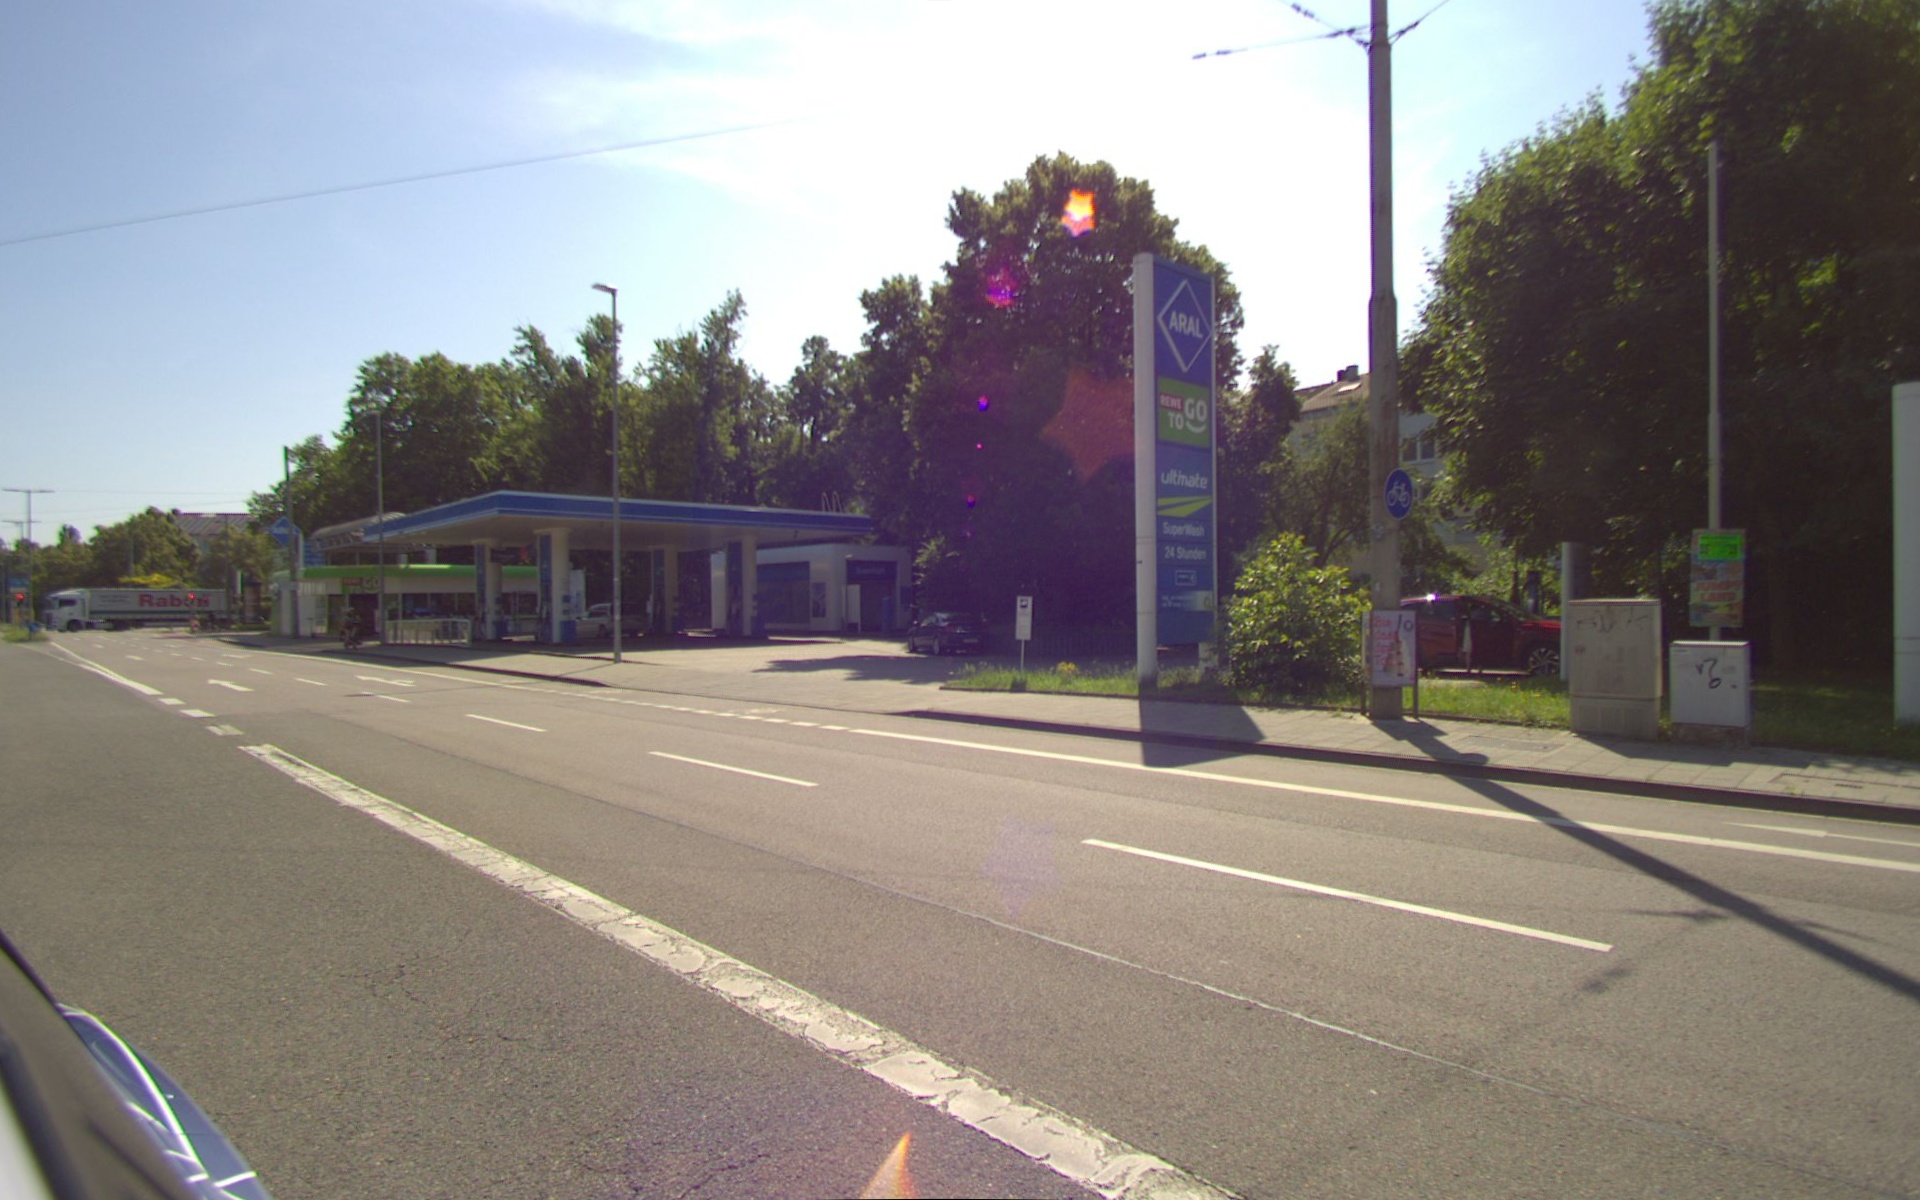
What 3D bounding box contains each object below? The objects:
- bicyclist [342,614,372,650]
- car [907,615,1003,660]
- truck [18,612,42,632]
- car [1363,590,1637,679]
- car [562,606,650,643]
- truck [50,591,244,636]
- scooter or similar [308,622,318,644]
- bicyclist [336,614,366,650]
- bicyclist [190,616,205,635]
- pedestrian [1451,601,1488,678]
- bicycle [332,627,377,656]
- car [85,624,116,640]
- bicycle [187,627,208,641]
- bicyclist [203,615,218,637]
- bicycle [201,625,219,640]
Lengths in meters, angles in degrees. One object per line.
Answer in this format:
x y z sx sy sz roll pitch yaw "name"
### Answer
-24.764 1.305 41.560 0.832 1.446 0.838 -4 -2 42 "bicyclist"
-0.248 1.208 33.568 1.774 1.356 4.257 0 -1 -21 "car"
-127.847 3.017 139.048 2.303 2.688 7.365 1 -2 -44 "truck"
10.750 0.712 20.413 1.778 1.582 4.521 0 -2 -44 "car"
-18.082 1.250 51.568 5.967 1.795 1.823 -2 -1 45 "car"
-76.720 1.244 96.056 2.852 4.038 14.112 -2 -1 40 "truck"
-36.799 1.886 57.552 0.435 1.247 1.349 0 -1 -35 "scooter or similar"
-25.359 1.347 42.140 0.832 1.446 0.838 -3 -1 41 "bicyclist"
-59.995 2.027 79.619 0.738 1.431 0.701 -4 -2 37 "bicyclist"
10.074 0.773 20.022 0.493 1.492 0.500 0 -1 -44 "pedestrian"
-24.958 1.699 41.673 2.772 1.103 0.816 -2 -1 42 "bicycle"
-89.055 3.329 104.854 4.393 1.522 1.733 -4 -2 40 "car"
-60.098 2.673 79.748 2.072 1.066 0.743 -2 -1 37 "bicycle"
-60.501 2.101 81.664 0.825 1.687 0.827 -1 -2 -45 "bicyclist"
-60.588 2.631 81.771 0.926 1.184 2.213 0 -1 -43 "bicycle"
